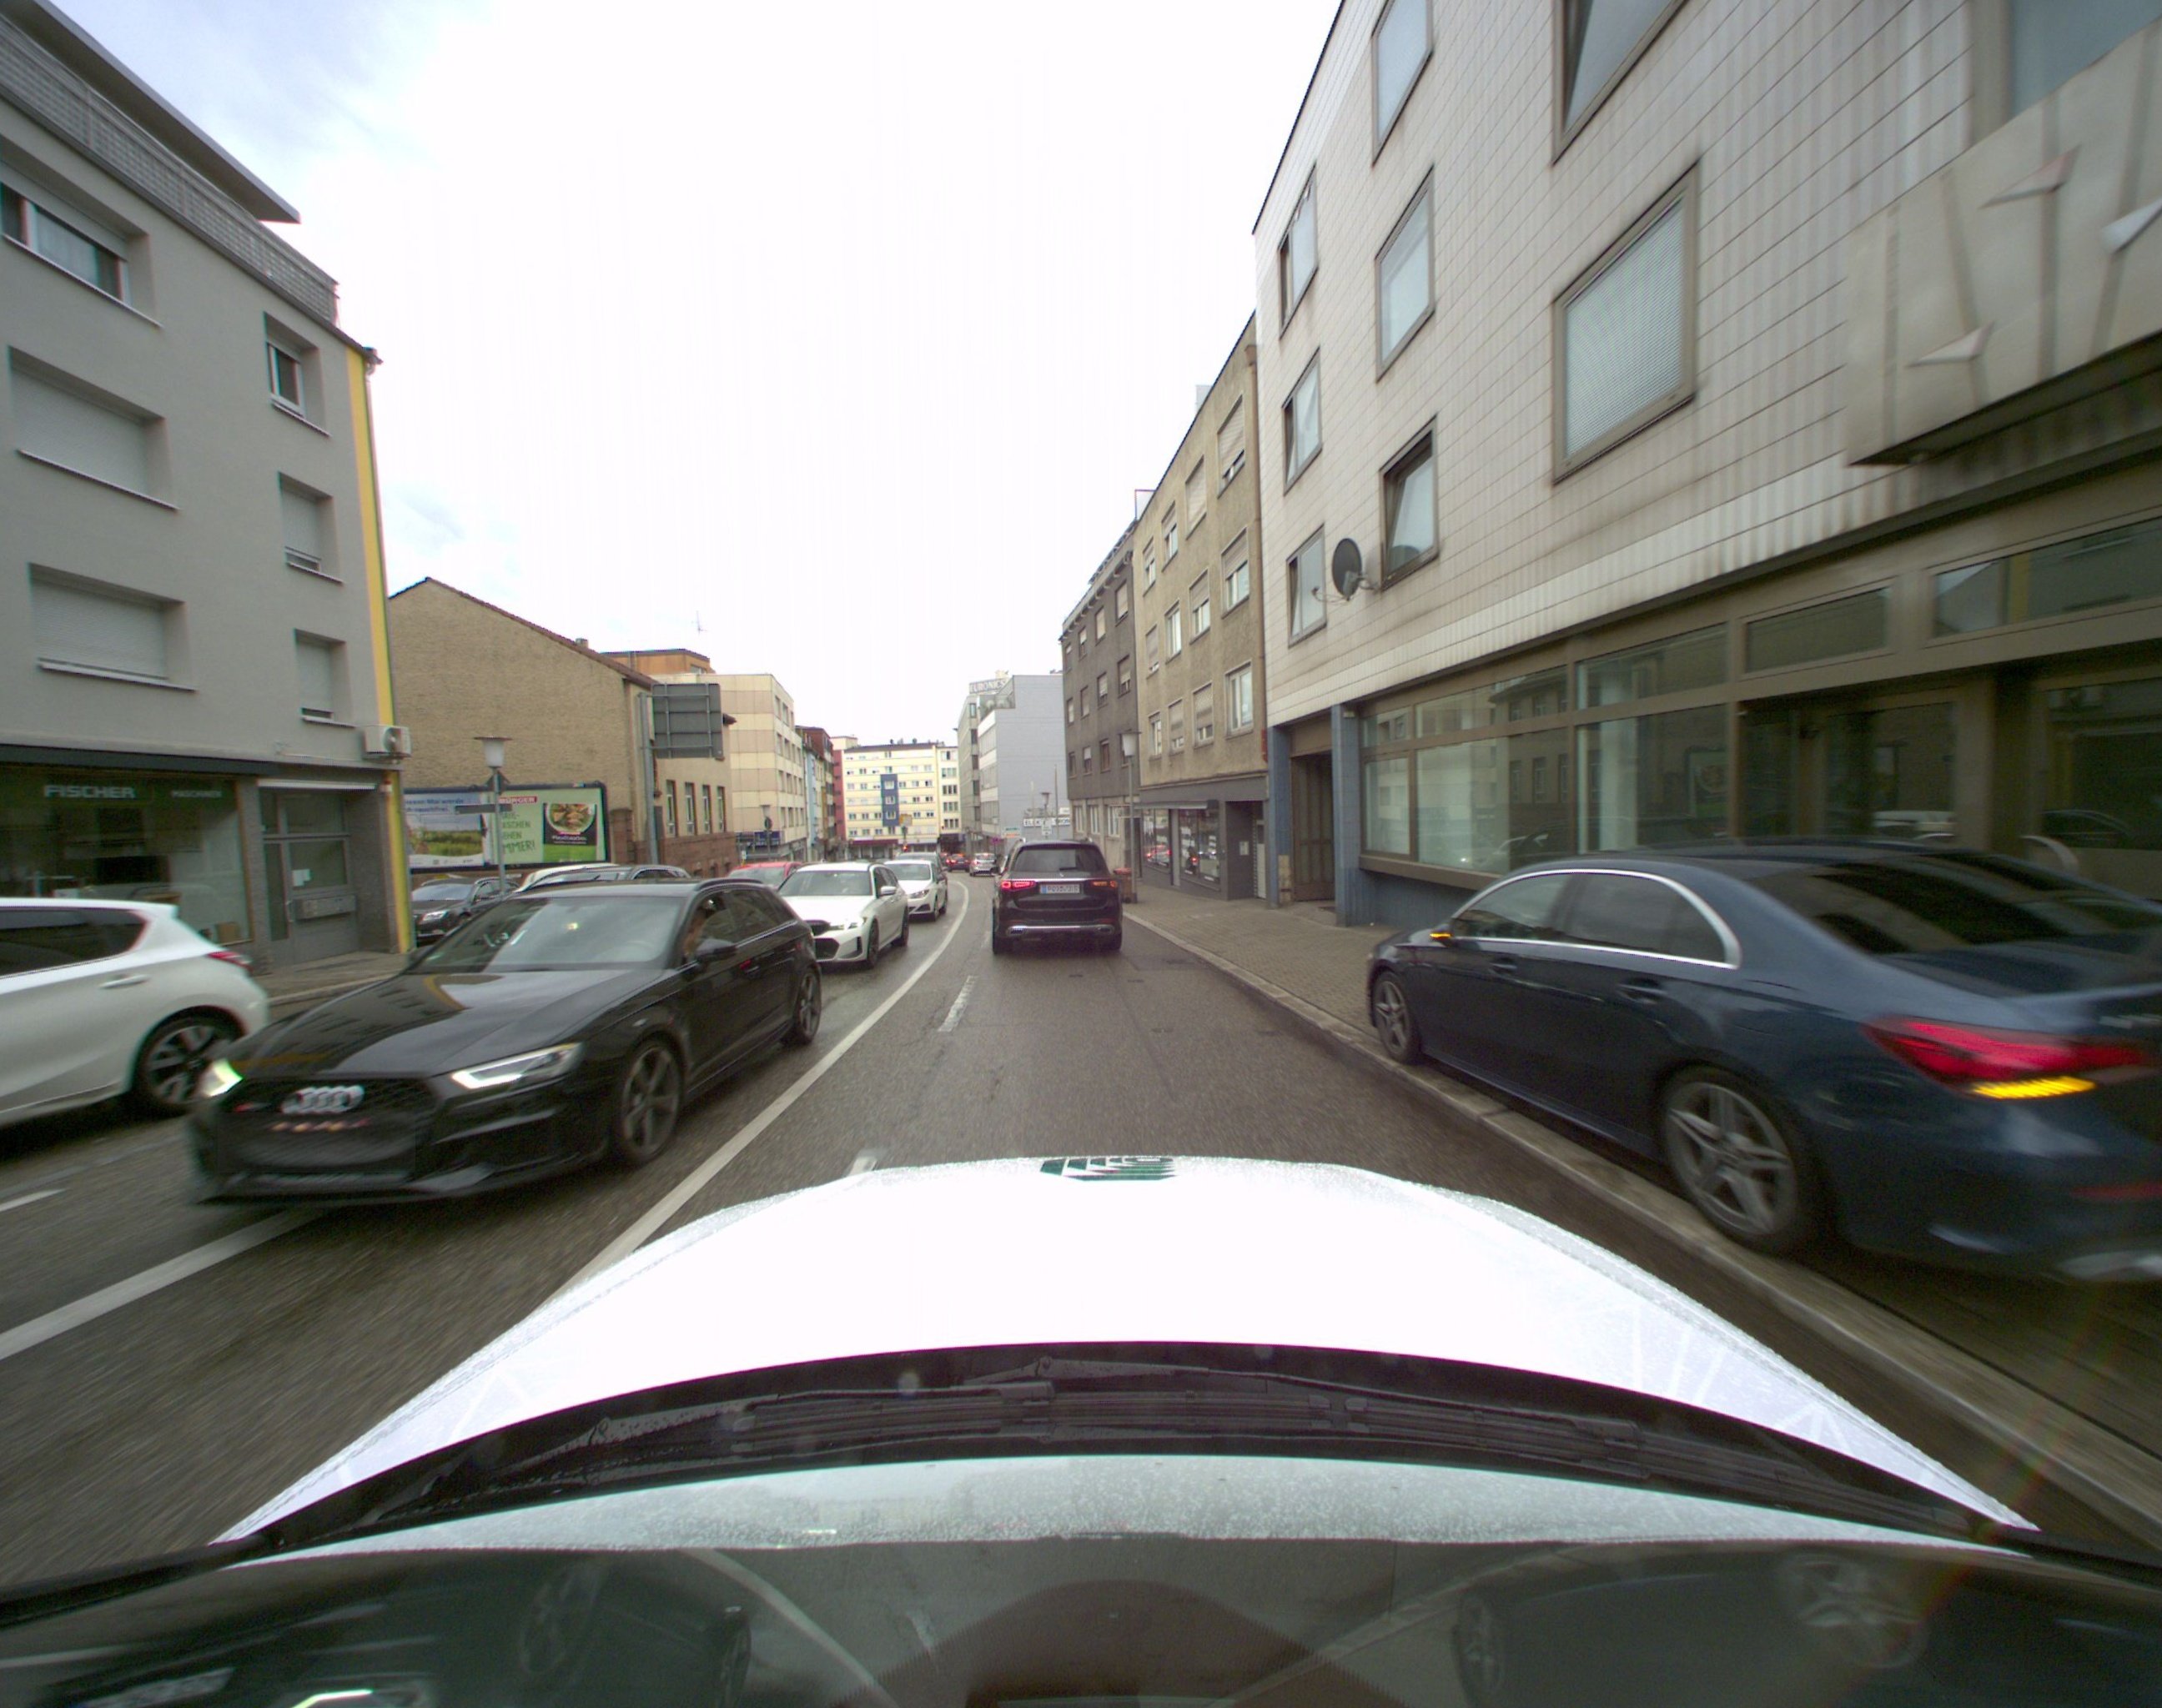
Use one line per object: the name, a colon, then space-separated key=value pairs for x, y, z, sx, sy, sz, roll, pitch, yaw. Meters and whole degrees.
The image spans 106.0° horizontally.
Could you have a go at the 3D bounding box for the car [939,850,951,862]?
car: x=-18.485 y=0.274 z=110.289 sx=1.523 sy=1.548 sz=3.096 roll=-2 pitch=1 yaw=-10

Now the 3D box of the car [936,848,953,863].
car: x=-15.131 y=0.186 z=90.362 sx=1.525 sy=1.548 sz=3.092 roll=-2 pitch=1 yaw=-15

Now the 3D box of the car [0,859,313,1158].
car: x=-6.750 y=0.909 z=3.915 sx=1.800 sy=1.542 sz=4.381 roll=-2 pitch=2 yaw=1

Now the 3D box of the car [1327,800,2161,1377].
car: x=2.965 y=0.577 z=4.314 sx=1.760 sy=1.392 sz=4.374 roll=-4 pitch=0 yaw=-3

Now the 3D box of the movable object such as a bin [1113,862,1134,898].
movable object such as a bin: x=1.217 y=0.745 z=23.325 sx=0.524 sy=0.980 sz=0.537 roll=-1 pitch=4 yaw=-4

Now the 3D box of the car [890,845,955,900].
car: x=-5.239 y=0.573 z=27.390 sx=1.805 sy=1.705 sz=4.551 roll=0 pitch=0 yaw=-7

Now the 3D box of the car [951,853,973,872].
car: x=-10.409 y=0.758 z=70.888 sx=1.525 sy=1.548 sz=3.092 roll=-2 pitch=1 yaw=-15

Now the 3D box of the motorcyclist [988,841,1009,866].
motorcyclist: x=-4.360 y=-0.045 z=42.808 sx=0.868 sy=1.057 sz=2.929 roll=-2 pitch=5 yaw=-11

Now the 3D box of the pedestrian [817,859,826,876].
pedestrian: x=-26.553 y=1.365 z=83.348 sx=0.741 sy=1.652 sz=0.603 roll=-2 pitch=4 yaw=-16

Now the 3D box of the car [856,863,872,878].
car: x=-25.583 y=1.988 z=96.152 sx=1.717 sy=1.586 sz=4.123 roll=-4 pitch=0 yaw=-14

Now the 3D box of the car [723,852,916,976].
car: x=-3.826 y=0.779 z=12.787 sx=1.803 sy=1.521 sz=4.554 roll=-2 pitch=0 yaw=-4

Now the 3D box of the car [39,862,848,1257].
car: x=-3.077 y=0.807 z=5.329 sx=1.801 sy=1.415 sz=4.378 roll=-2 pitch=0 yaw=0

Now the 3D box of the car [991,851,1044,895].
car: x=-2.585 y=0.729 z=32.159 sx=1.828 sy=1.461 sz=4.368 roll=-4 pitch=0 yaw=-7

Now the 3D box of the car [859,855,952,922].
car: x=-4.249 y=0.777 z=20.333 sx=1.695 sy=1.480 sz=4.284 roll=0 pitch=0 yaw=-4

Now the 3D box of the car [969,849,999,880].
car: x=-6.638 y=0.666 z=55.373 sx=1.754 sy=1.779 sz=3.563 roll=-2 pitch=5 yaw=-11

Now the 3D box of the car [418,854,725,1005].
car: x=-6.956 y=0.901 z=11.793 sx=1.803 sy=1.631 sz=4.337 roll=-5 pitch=0 yaw=-4

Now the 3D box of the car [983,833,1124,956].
car: x=-0.563 y=0.581 z=14.273 sx=2.017 sy=1.739 sz=4.740 roll=-1 pitch=0 yaw=-4

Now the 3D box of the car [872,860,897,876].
car: x=-18.113 y=1.274 z=75.300 sx=1.696 sy=1.480 sz=4.282 roll=0 pitch=0 yaw=-6

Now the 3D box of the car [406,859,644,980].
car: x=-10.094 y=1.061 z=15.236 sx=1.724 sy=1.830 sz=4.055 roll=-4 pitch=0 yaw=-3

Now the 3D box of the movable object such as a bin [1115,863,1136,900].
movable object such as a bin: x=1.248 y=0.766 z=22.758 sx=0.524 sy=0.950 sz=0.537 roll=-1 pitch=4 yaw=-4

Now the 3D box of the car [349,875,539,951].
car: x=-15.448 y=1.338 z=20.117 sx=1.691 sy=1.455 sz=4.648 roll=-2 pitch=0 yaw=-11

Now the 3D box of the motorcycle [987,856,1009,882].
motorcycle: x=-4.381 y=0.760 z=42.945 sx=0.868 sy=1.057 sz=2.929 roll=-2 pitch=5 yaw=-11

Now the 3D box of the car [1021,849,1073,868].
car: x=-2.791 y=0.365 z=67.152 sx=4.013 sy=1.494 sz=1.716 roll=0 pitch=-1 yaw=-32

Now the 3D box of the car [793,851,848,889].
car: x=-12.510 y=0.752 z=39.344 sx=1.654 sy=1.610 sz=3.920 roll=-4 pitch=0 yaw=-6

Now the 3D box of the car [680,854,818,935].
car: x=-7.424 y=0.840 z=18.658 sx=1.738 sy=1.516 sz=4.121 roll=-4 pitch=0 yaw=-6
